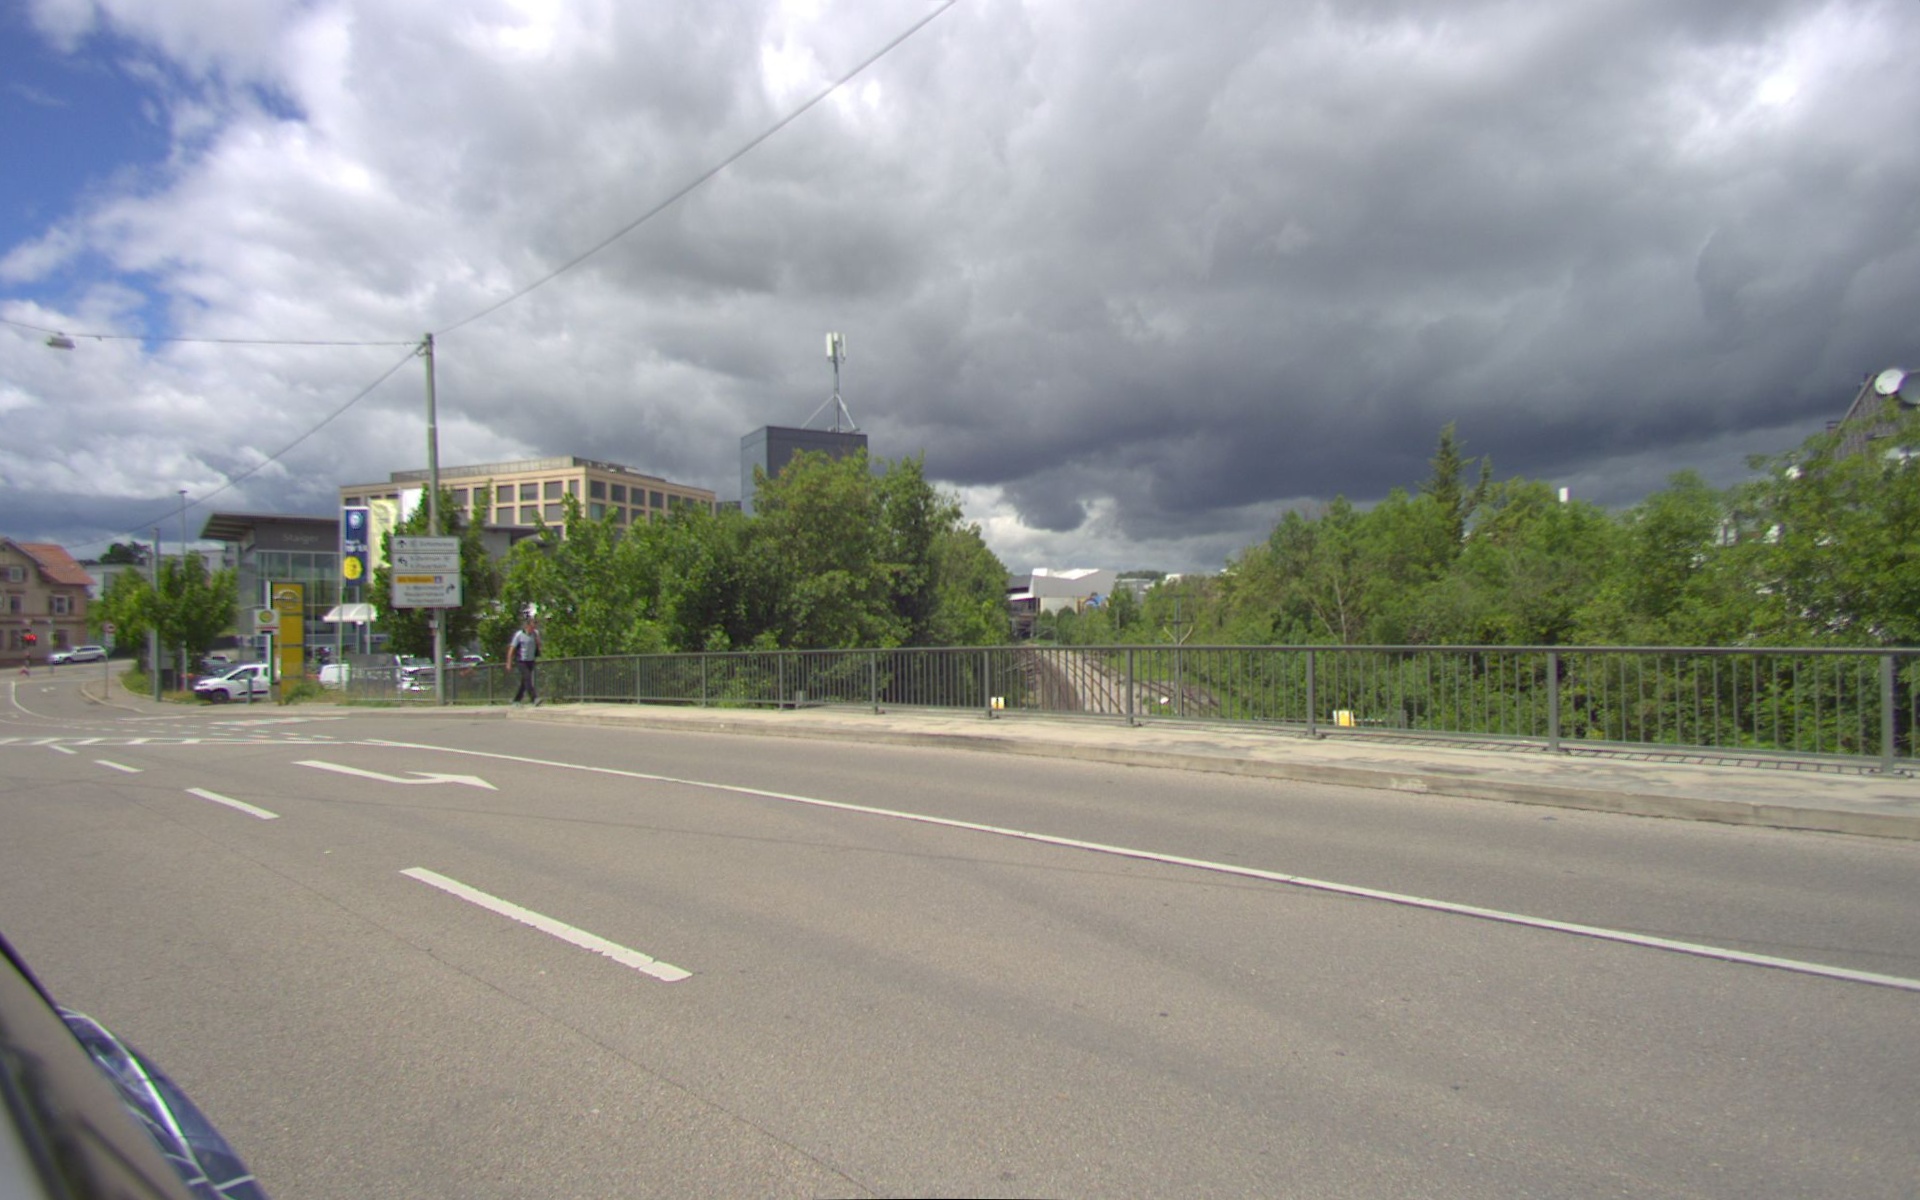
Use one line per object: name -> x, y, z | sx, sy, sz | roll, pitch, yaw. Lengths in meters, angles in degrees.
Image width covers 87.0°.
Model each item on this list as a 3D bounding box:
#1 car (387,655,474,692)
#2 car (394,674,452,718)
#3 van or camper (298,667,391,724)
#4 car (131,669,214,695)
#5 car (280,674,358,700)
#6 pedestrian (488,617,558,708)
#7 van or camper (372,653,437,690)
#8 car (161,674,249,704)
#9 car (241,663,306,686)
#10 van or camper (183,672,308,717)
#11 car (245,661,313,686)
car -> -24.898, 3.443, 47.733 | 1.795, 1.478, 3.993 | -2, -1, 5
car -> -22.116, 3.920, 41.790 | 1.786, 1.478, 4.013 | -1, -1, -24
van or camper -> -25.817, 3.951, 42.654 | 1.957, 1.978, 4.972 | -2, -1, -15
car -> -52.725, 5.434, 67.787 | 1.813, 1.509, 4.160 | -4, -3, 44
car -> -35.979, 4.858, 56.823 | 1.545, 1.263, 3.425 | -4, -3, 43
pedestrian -> -9.397, 1.338, 21.755 | 1.037, 1.851, 0.985 | -5, -2, 43
van or camper -> -32.357, 4.145, 58.869 | 4.686, 2.029, 1.971 | -4, -3, 43
car -> -43.663, 5.130, 58.591 | 1.812, 1.509, 3.807 | -4, -3, 42
car -> -44.856, 4.857, 66.112 | 1.518, 1.384, 3.279 | -4, -3, 43
van or camper -> -33.696, 4.420, 47.769 | 4.612, 1.763, 2.002 | 0, -3, -43
car -> -42.934, 4.639, 63.847 | 1.518, 1.384, 3.279 | -4, -3, 43
